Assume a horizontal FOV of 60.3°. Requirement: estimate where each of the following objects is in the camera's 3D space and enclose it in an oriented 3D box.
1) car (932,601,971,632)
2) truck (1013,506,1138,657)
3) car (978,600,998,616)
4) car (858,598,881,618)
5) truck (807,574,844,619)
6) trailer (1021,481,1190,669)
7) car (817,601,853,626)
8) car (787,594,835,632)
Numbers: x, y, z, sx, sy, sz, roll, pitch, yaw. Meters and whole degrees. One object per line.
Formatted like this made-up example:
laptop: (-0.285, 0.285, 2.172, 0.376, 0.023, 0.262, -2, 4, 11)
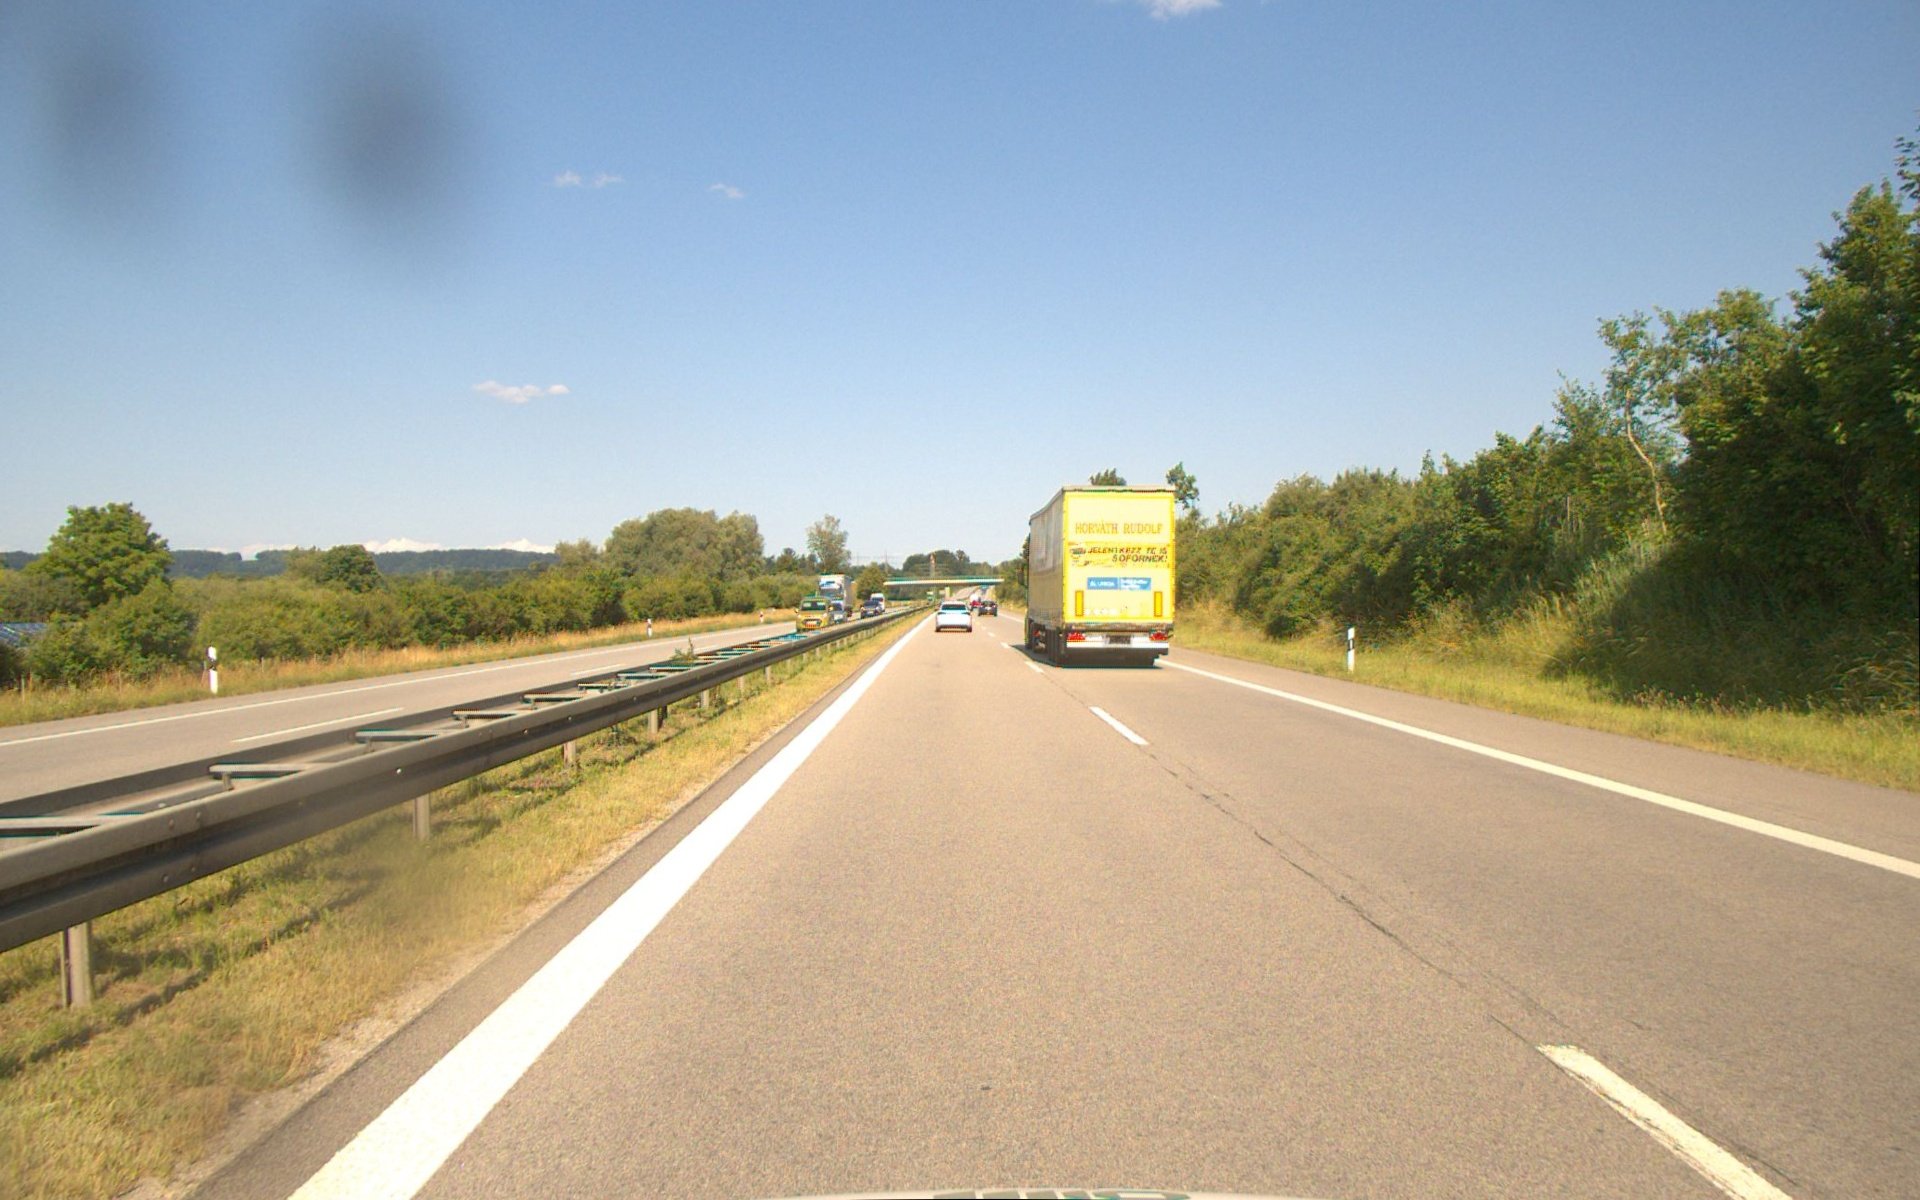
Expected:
car: (-0.389, 0.782, 79.678, 1.805, 1.440, 4.000, 1, 0, 0)
truck: (3.376, -0.507, 49.930, 3.105, 4.186, 6.386, 1, 0, -2)
car: (2.691, 0.776, 159.329, 1.805, 1.546, 4.000, 1, 0, 0)
car: (-8.139, 0.708, 149.086, 1.690, 1.610, 4.767, -4, 0, 0)
truck: (-13.142, -0.341, 161.945, 3.105, 4.185, 6.386, -2, 0, -1)
trailer: (3.484, -0.532, 43.391, 3.120, 4.130, 13.184, 1, 0, -1)
car: (-7.822, 0.844, 103.527, 1.731, 1.444, 4.470, -4, 0, 1)
car: (-7.863, 0.675, 87.567, 1.910, 1.802, 4.749, -4, 0, 1)
